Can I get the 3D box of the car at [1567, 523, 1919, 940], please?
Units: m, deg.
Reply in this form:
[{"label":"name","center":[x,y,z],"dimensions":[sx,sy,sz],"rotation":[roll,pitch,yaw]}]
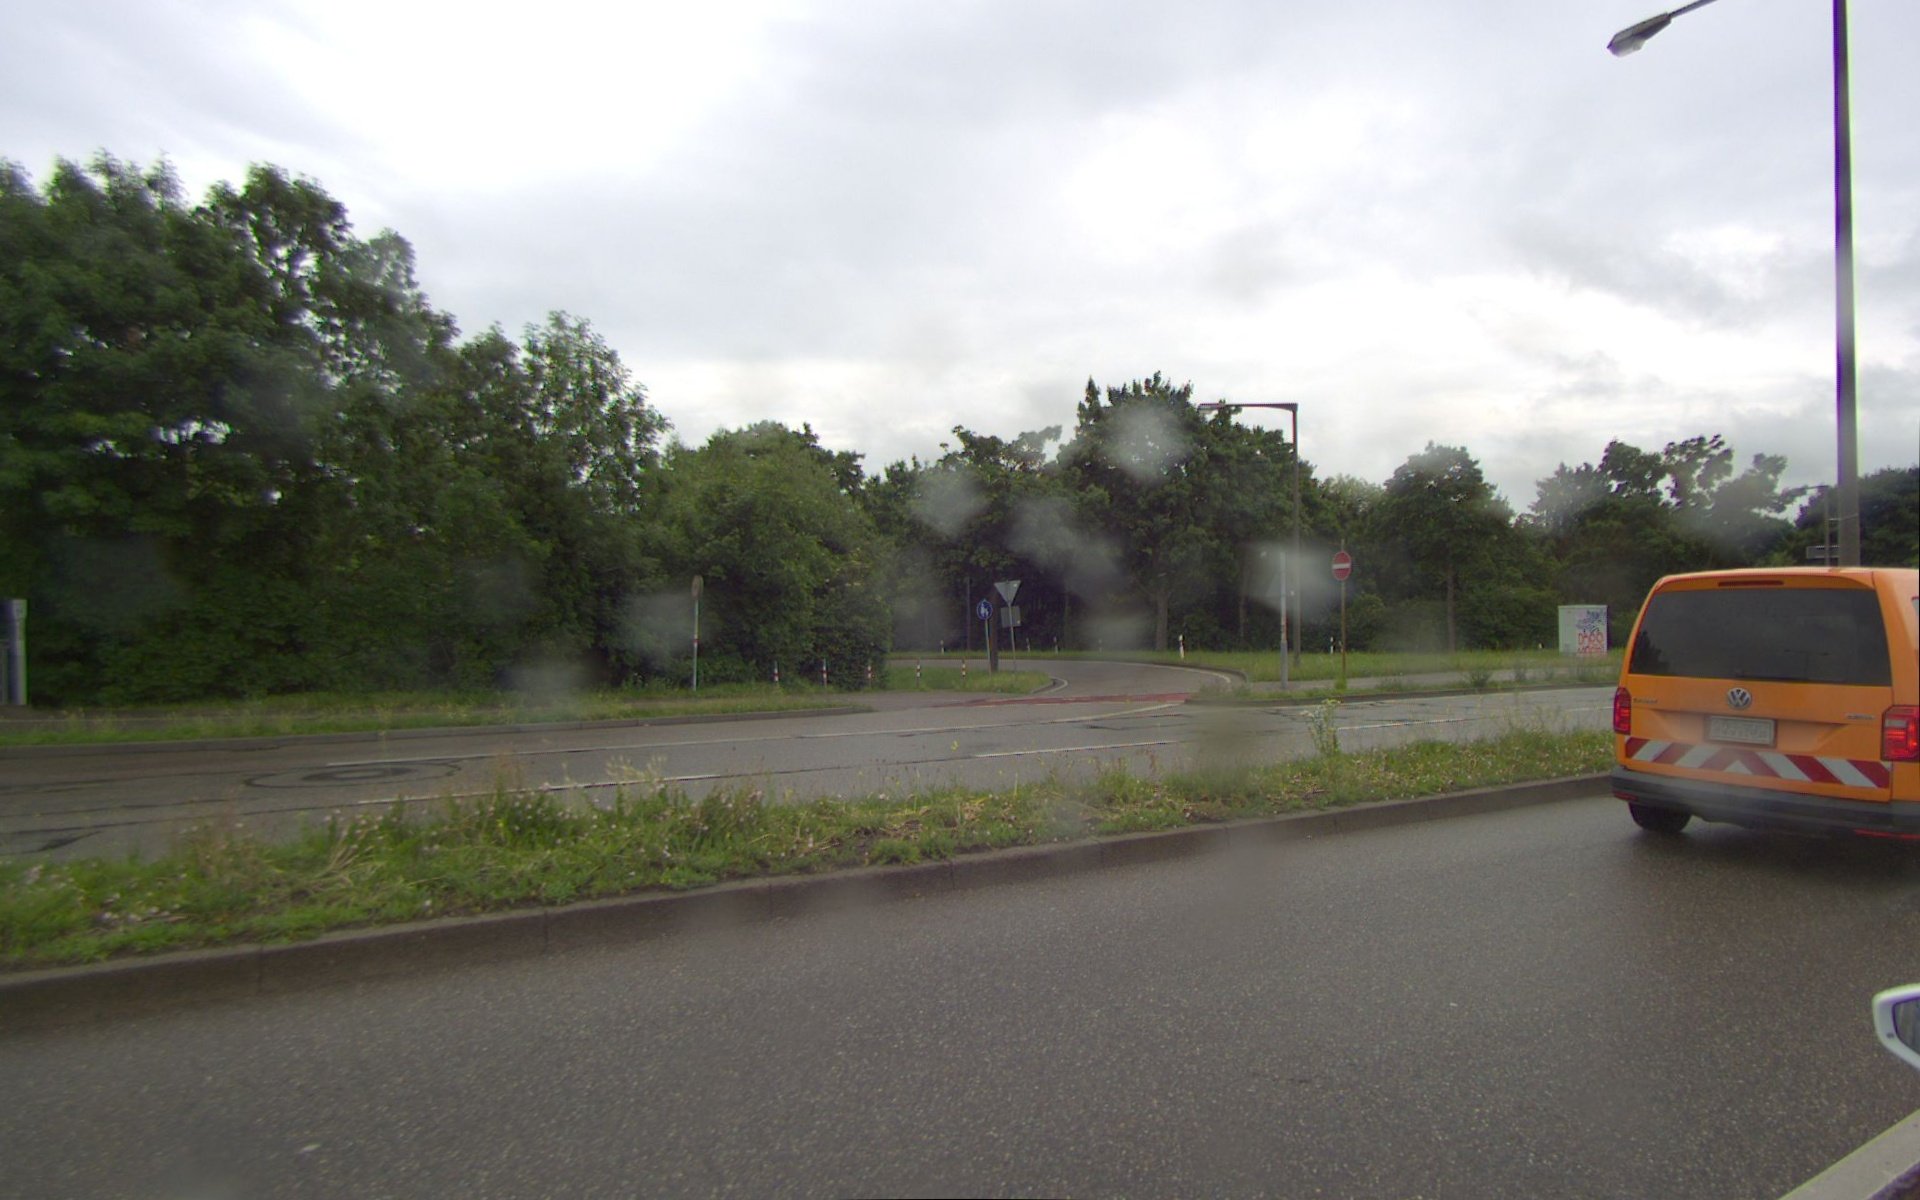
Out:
[{"label":"car","center":[6.365,0.683,6.882],"dimensions":[4.793,2.046,1.726],"rotation":[1,0,-31]}]
